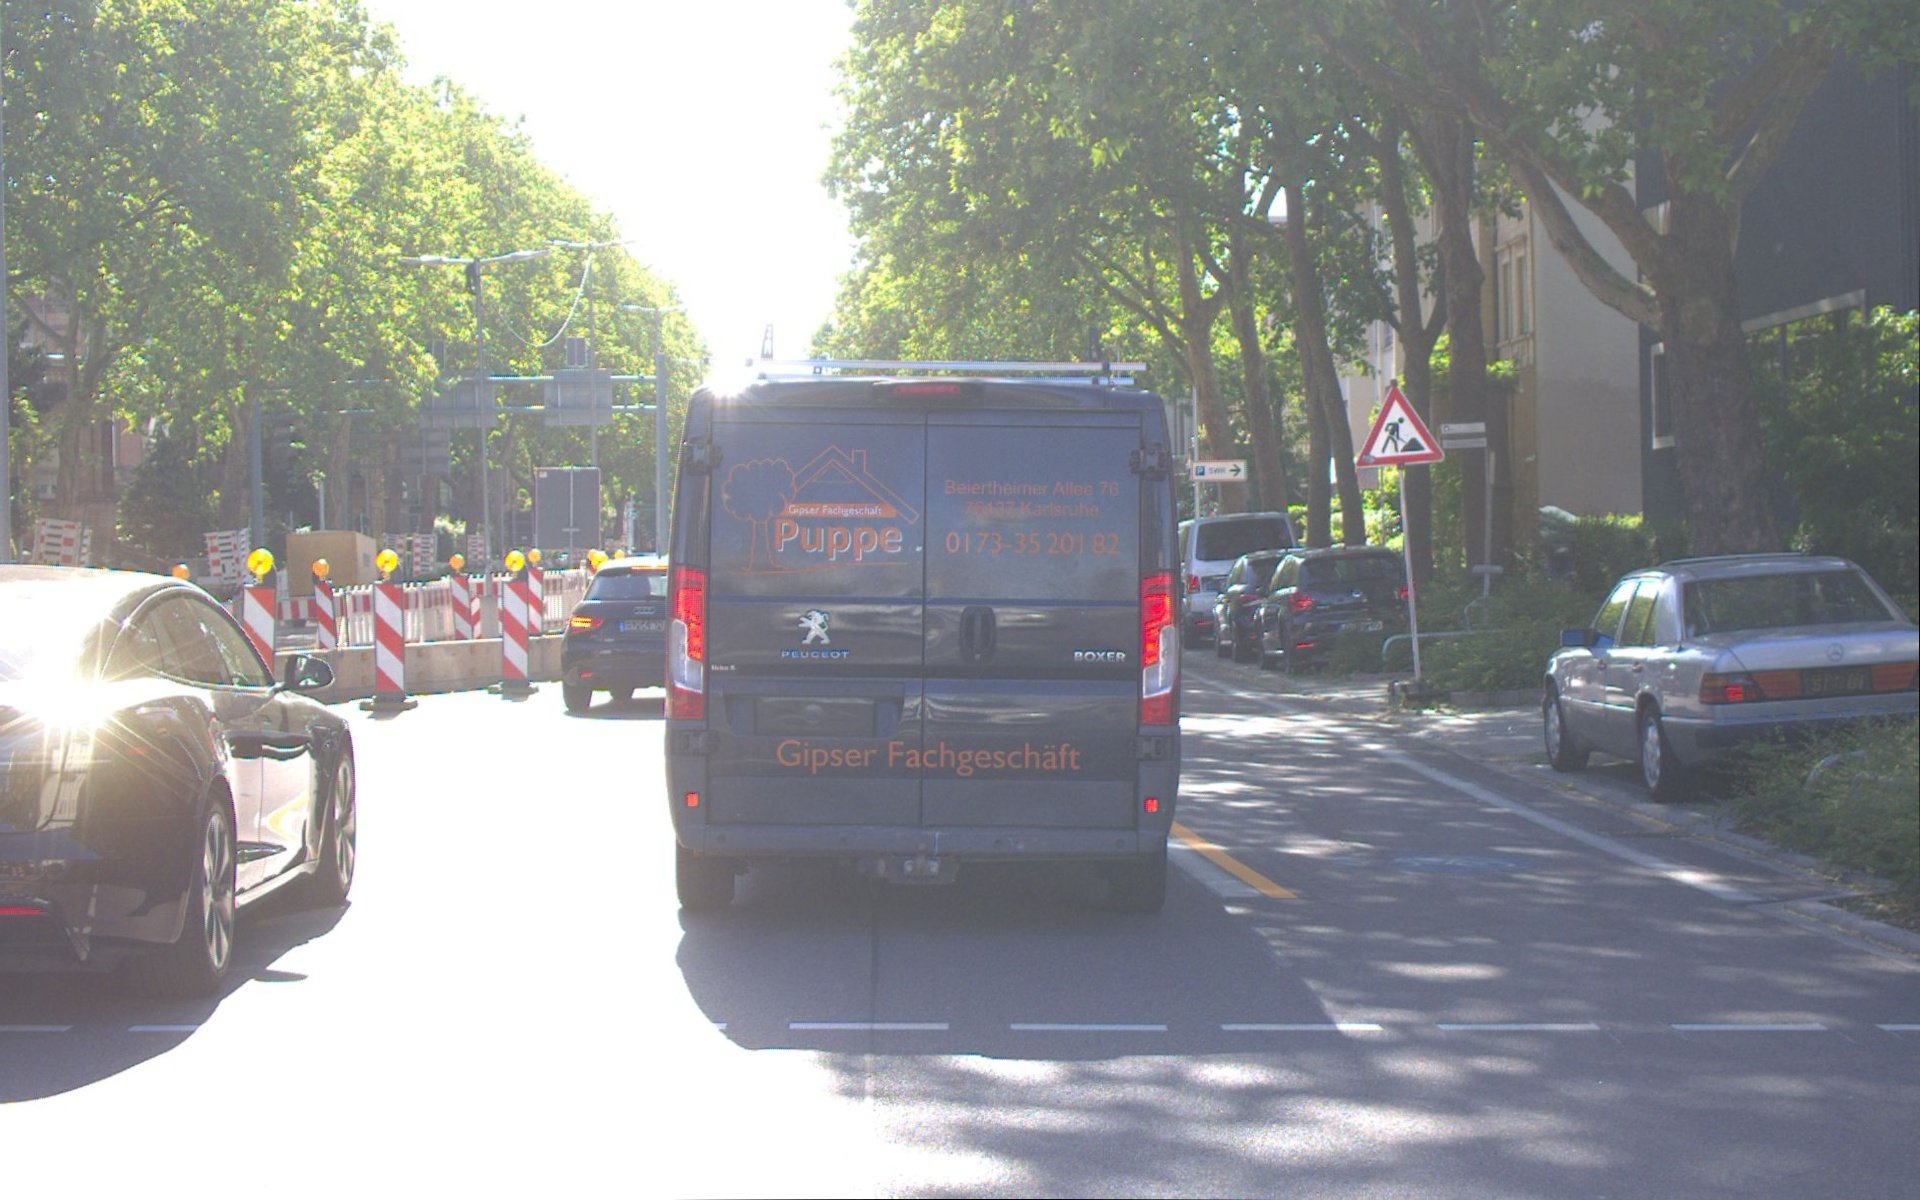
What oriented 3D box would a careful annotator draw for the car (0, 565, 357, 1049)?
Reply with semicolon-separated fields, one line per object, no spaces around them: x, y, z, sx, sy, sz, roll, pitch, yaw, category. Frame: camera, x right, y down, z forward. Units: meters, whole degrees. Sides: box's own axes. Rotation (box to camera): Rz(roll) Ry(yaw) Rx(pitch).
-3.533;0.619;12.696;1.925;1.407;4.626;-1;1;-2;car

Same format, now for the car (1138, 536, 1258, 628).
4.034;-0.321;58.706;1.748;1.472;4.101;-2;1;0;car

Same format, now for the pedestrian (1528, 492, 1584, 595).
9.743;-0.928;56.201;0.705;1.643;0.675;1;3;-4;pedestrian

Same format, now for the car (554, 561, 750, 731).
-2.922;0.395;33.234;1.746;1.402;4.001;0;3;-3;car

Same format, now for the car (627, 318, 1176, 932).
-0.224;0.045;15.110;2.095;2.347;3.933;0;1;0;car

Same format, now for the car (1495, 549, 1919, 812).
4.873;0.419;22.063;1.852;1.474;4.943;-1;1;-3;car

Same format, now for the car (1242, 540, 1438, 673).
4.503;0.043;41.286;1.763;1.503;4.251;-1;1;-2;car

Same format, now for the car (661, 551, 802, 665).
-2.975;0.079;45.373;1.547;1.420;3.555;-1;1;1;car

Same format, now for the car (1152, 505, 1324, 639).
4.219;-0.447;52.958;2.025;1.940;5.274;-1;1;-2;car

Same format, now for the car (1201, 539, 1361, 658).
4.279;-0.050;46.273;1.657;1.535;4.129;0;1;-2;car
